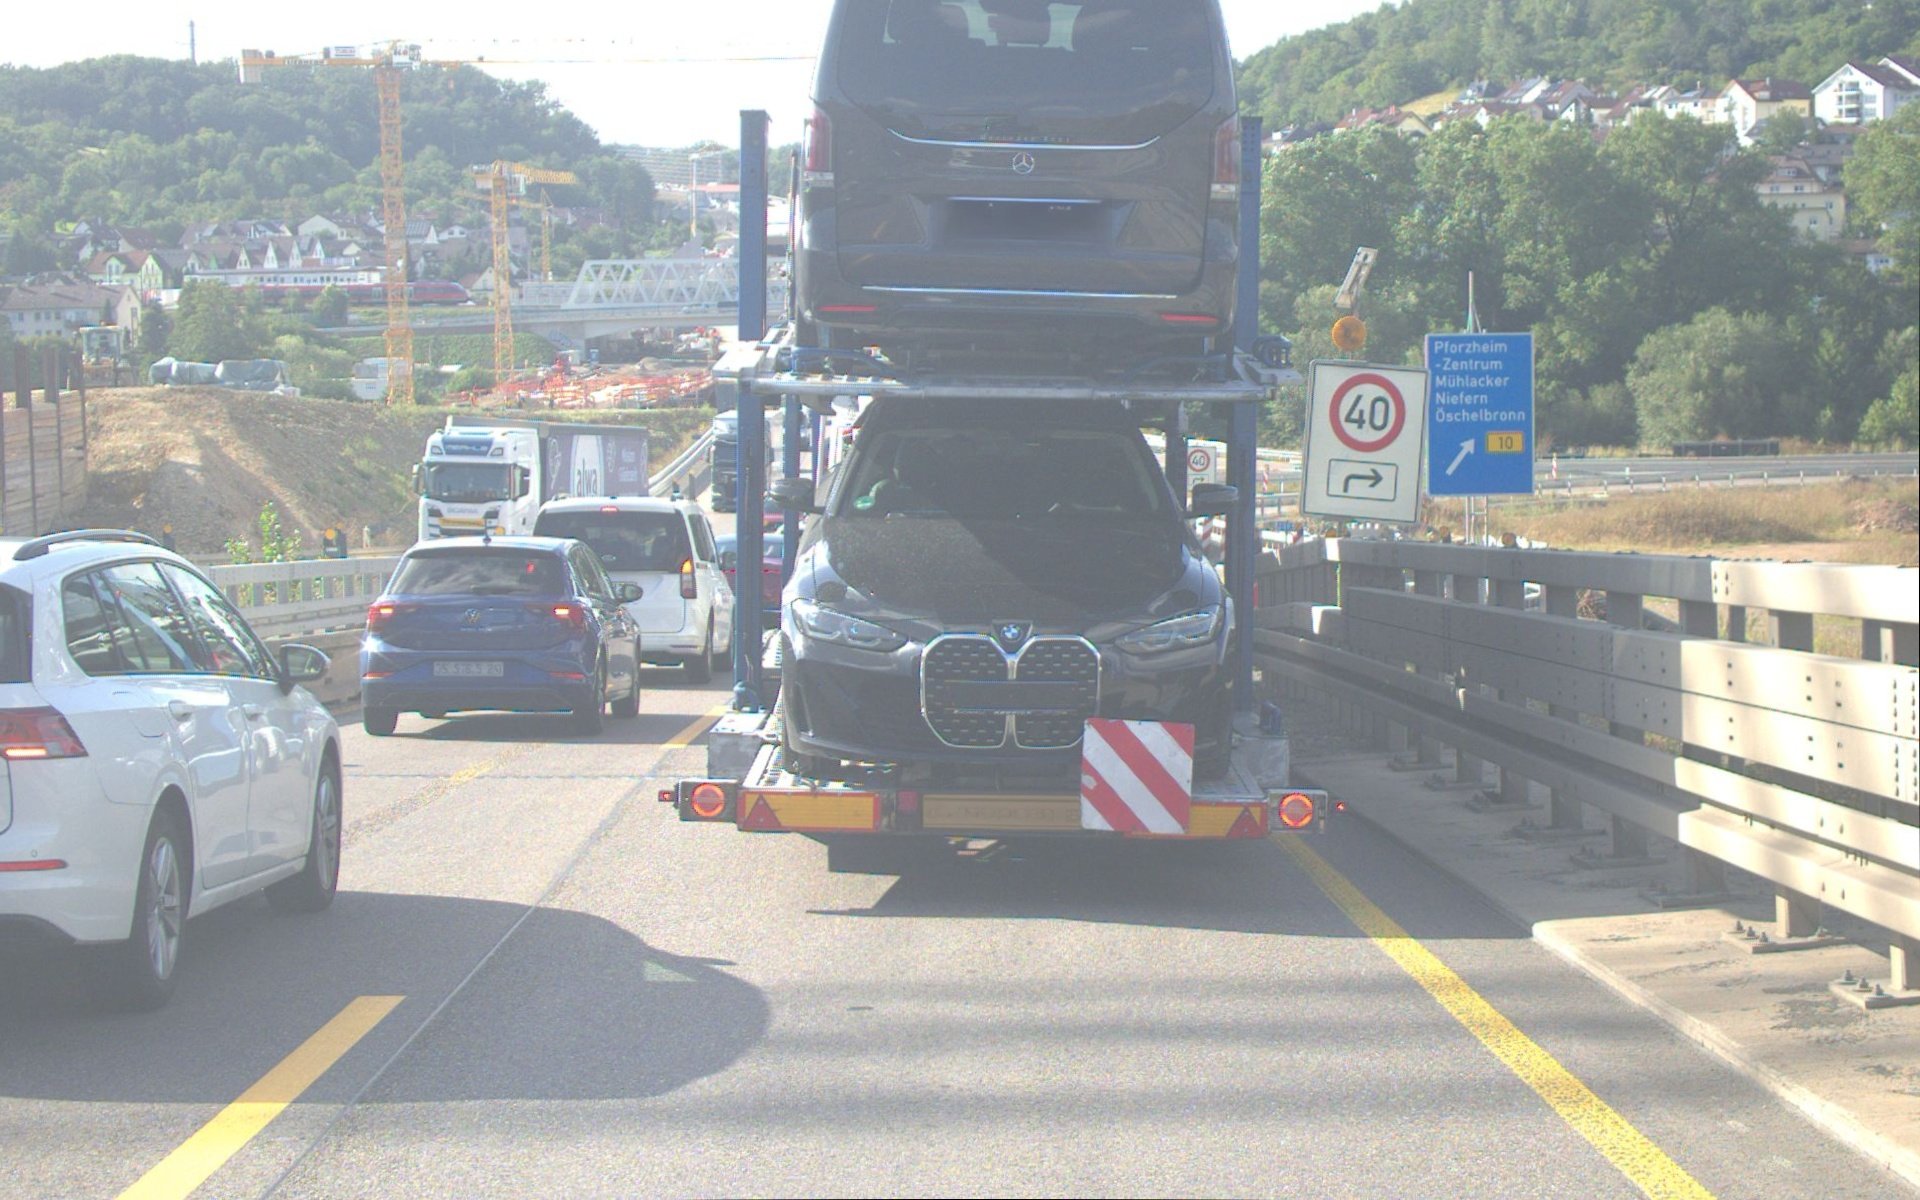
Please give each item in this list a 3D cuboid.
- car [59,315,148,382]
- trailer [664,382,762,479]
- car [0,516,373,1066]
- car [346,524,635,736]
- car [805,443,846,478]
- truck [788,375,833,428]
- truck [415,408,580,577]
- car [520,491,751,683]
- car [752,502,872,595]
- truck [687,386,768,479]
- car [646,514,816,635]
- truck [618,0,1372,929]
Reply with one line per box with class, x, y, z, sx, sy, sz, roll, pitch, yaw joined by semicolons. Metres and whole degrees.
car;-33.189;-9.723;133.317;1.993;2.133;5.322;-4;1;0
trailer;-11.258;-7.576;155.355;2.820;3.828;13.808;1;1;-11
car;-3.290;0.479;11.655;1.770;1.486;4.517;-1;2;0
car;-3.431;0.179;25.762;1.722;1.417;4.000;-2;1;-2
car;-7.147;-7.377;181.805;1.993;1.720;4.123;1;1;-4
truck;-10.411;-13.806;240.062;2.700;3.300;7.537;1;1;0
truck;-11.685;-2.668;87.406;2.712;4.123;5.969;1;1;7
car;-3.179;-0.142;34.371;1.823;1.786;4.000;1;1;1
car;-2.548;-0.891;59.831;1.993;1.547;4.000;1;1;-2
truck;-10.126;-7.214;149.108;2.776;3.775;6.020;1;1;-11
car;-3.098;-0.358;47.295;1.993;1.551;4.401;1;1;0
truck;0.048;-0.865;22.488;2.753;3.941;18.890;2;1;-1
